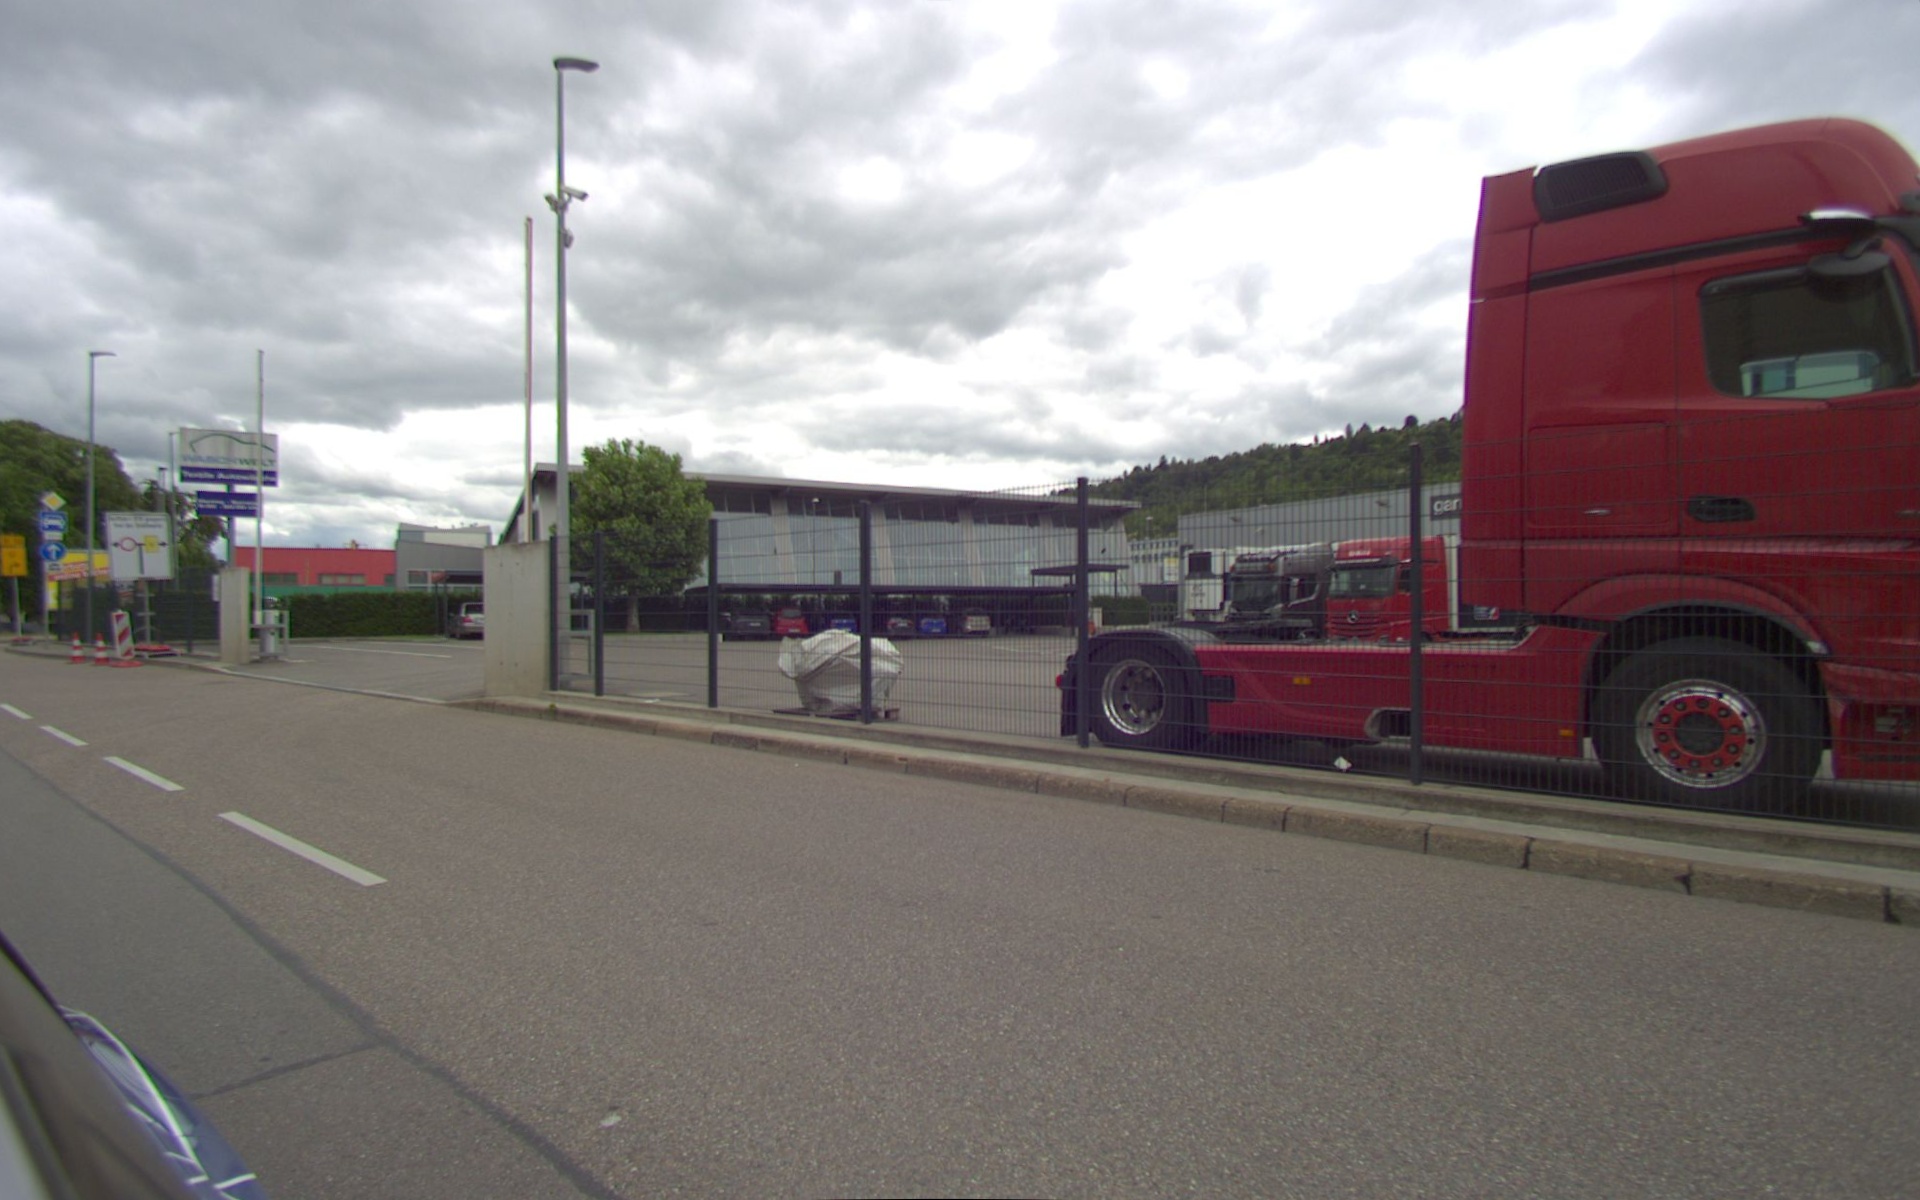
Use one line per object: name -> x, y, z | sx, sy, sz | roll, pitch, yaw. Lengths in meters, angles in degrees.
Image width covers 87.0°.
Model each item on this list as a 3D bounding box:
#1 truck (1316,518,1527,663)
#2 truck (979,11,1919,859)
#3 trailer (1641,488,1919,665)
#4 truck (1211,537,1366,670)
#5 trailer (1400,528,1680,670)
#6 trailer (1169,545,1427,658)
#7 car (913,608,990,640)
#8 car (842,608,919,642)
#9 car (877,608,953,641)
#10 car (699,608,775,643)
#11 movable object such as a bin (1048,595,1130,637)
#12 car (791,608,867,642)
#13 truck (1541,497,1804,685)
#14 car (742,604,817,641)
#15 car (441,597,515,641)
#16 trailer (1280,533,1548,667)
truck -> 13.813, -0.243, 30.232 | 5.823, 3.958, 2.811 | 0, 0, -29
truck -> 3.681, -0.781, 7.625 | 6.941, 4.051, 2.890 | 0, 0, 43
trailer -> 22.878, -0.512, 27.364 | 10.807, 4.108, 2.801 | 0, 0, -29
truck -> 10.797, 0.125, 33.311 | 4.093, 4.070, 2.811 | 0, 0, -29
trailer -> 19.247, -0.003, 33.224 | 10.807, 4.108, 2.801 | 0, 0, -29
trailer -> 13.807, 0.090, 40.842 | 11.213, 4.108, 3.101 | 0, 0, -29
car -> -0.491, 1.214, 52.781 | 1.935, 1.570, 4.258 | 0, 0, -34
car -> -3.933, 1.183, 49.487 | 1.935, 1.570, 4.258 | 0, 0, -34
car -> -2.320, 1.200, 51.557 | 1.935, 1.570, 4.258 | 0, 0, -34
car -> -10.119, 1.124, 45.732 | 1.935, 1.503, 4.258 | 0, 0, -34
movable object such as a bin -> 7.215, 0.865, 57.135 | 2.046, 2.243, 4.612 | 0, 0, -34
car -> -6.363, 1.167, 48.905 | 1.935, 1.570, 4.258 | 0, 0, -34
truck -> 16.943, -0.173, 24.038 | 5.823, 3.958, 2.811 | 0, 0, -29
car -> -8.599, 1.020, 47.913 | 1.935, 1.660, 4.258 | 0, 0, -34
car -> -19.330, 0.723, 40.495 | 2.039, 1.682, 4.258 | 0, 0, -34
trailer -> 16.563, 0.039, 36.483 | 10.989, 4.333, 2.801 | 0, 0, -29
